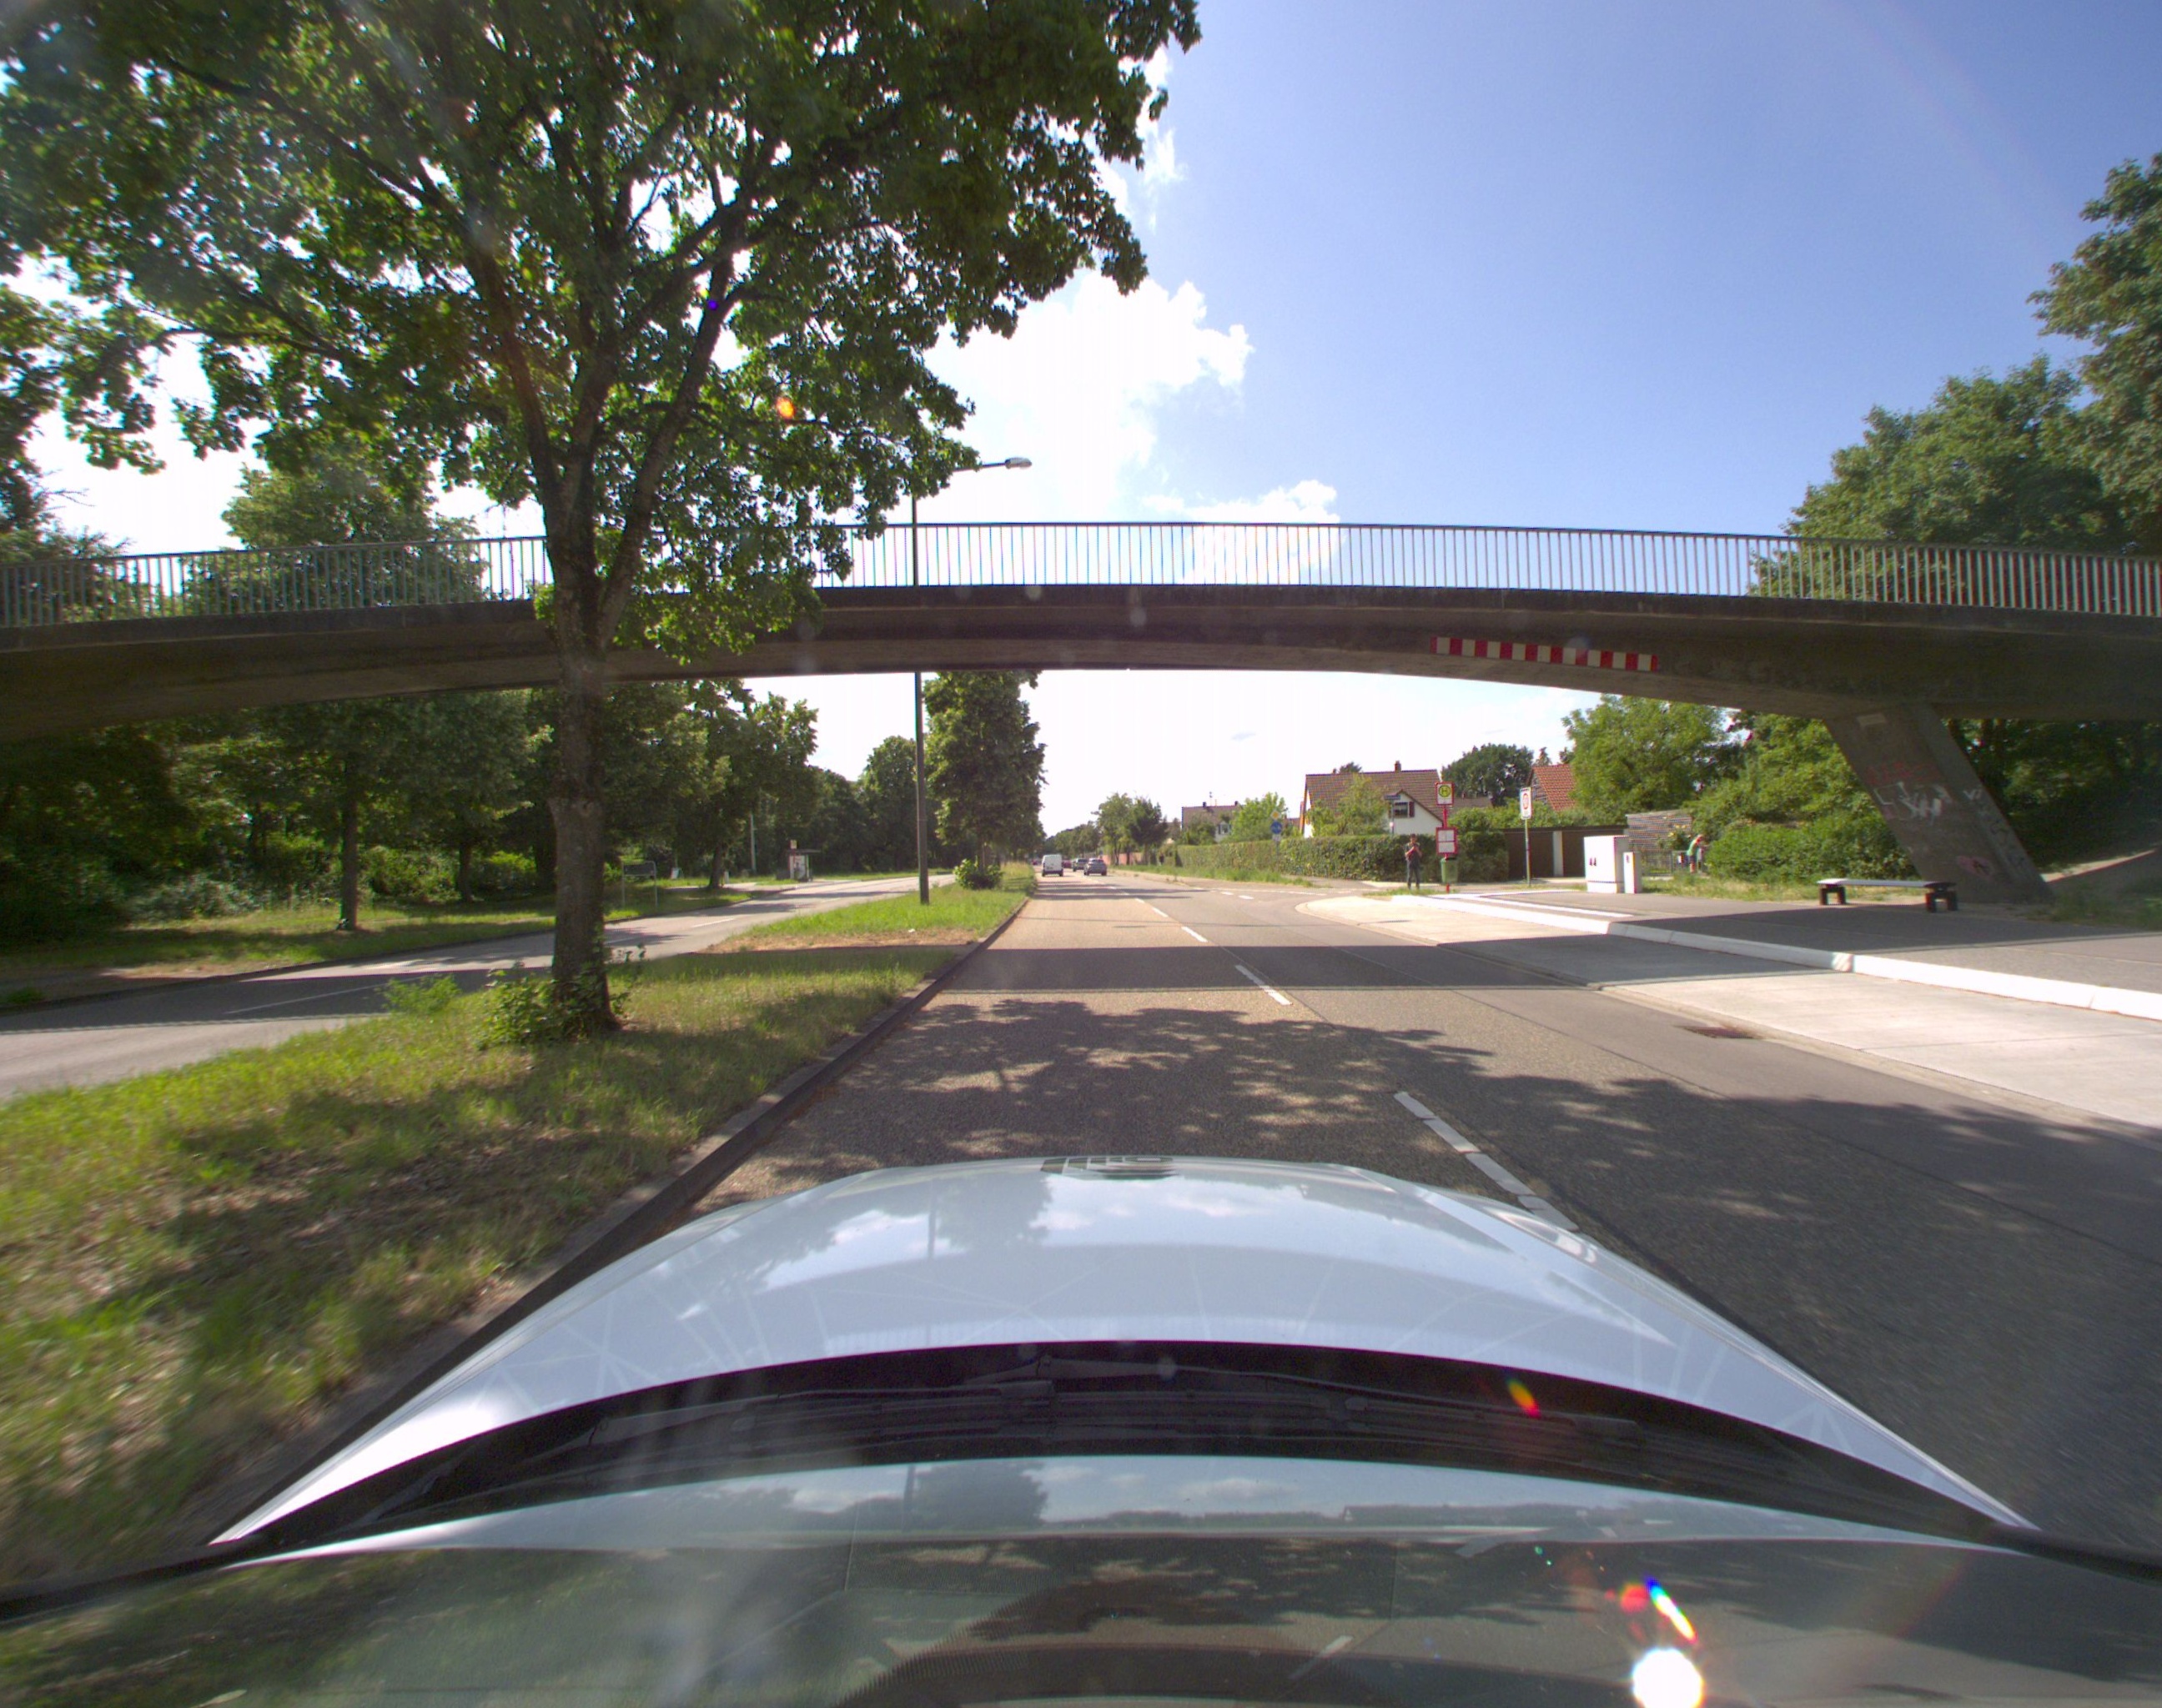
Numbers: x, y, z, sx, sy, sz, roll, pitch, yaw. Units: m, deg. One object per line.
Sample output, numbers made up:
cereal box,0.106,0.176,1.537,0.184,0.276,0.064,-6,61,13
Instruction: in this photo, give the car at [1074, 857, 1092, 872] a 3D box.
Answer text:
car,0.217,1.244,98.409,1.871,1.652,3.995,-1,-1,-3

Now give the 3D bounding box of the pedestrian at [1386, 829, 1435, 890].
pedestrian,10.337,0.183,25.580,0.951,1.824,1.087,-3,-3,-1

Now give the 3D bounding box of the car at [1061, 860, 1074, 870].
car,-2.301,1.780,137.190,1.876,1.587,3.995,-1,0,-4

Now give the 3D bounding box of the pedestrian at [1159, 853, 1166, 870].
pedestrian,8.205,0.734,82.425,0.559,1.677,0.633,-1,-1,-4

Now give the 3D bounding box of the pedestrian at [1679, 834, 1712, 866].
pedestrian,25.266,-0.153,33.487,0.638,1.300,0.917,-1,0,-36

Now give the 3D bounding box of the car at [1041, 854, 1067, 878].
car,-2.361,0.991,69.762,2.062,1.912,4.640,-1,0,-4

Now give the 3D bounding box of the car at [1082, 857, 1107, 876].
car,1.171,1.057,71.784,1.871,1.589,4.179,-1,-1,-3
